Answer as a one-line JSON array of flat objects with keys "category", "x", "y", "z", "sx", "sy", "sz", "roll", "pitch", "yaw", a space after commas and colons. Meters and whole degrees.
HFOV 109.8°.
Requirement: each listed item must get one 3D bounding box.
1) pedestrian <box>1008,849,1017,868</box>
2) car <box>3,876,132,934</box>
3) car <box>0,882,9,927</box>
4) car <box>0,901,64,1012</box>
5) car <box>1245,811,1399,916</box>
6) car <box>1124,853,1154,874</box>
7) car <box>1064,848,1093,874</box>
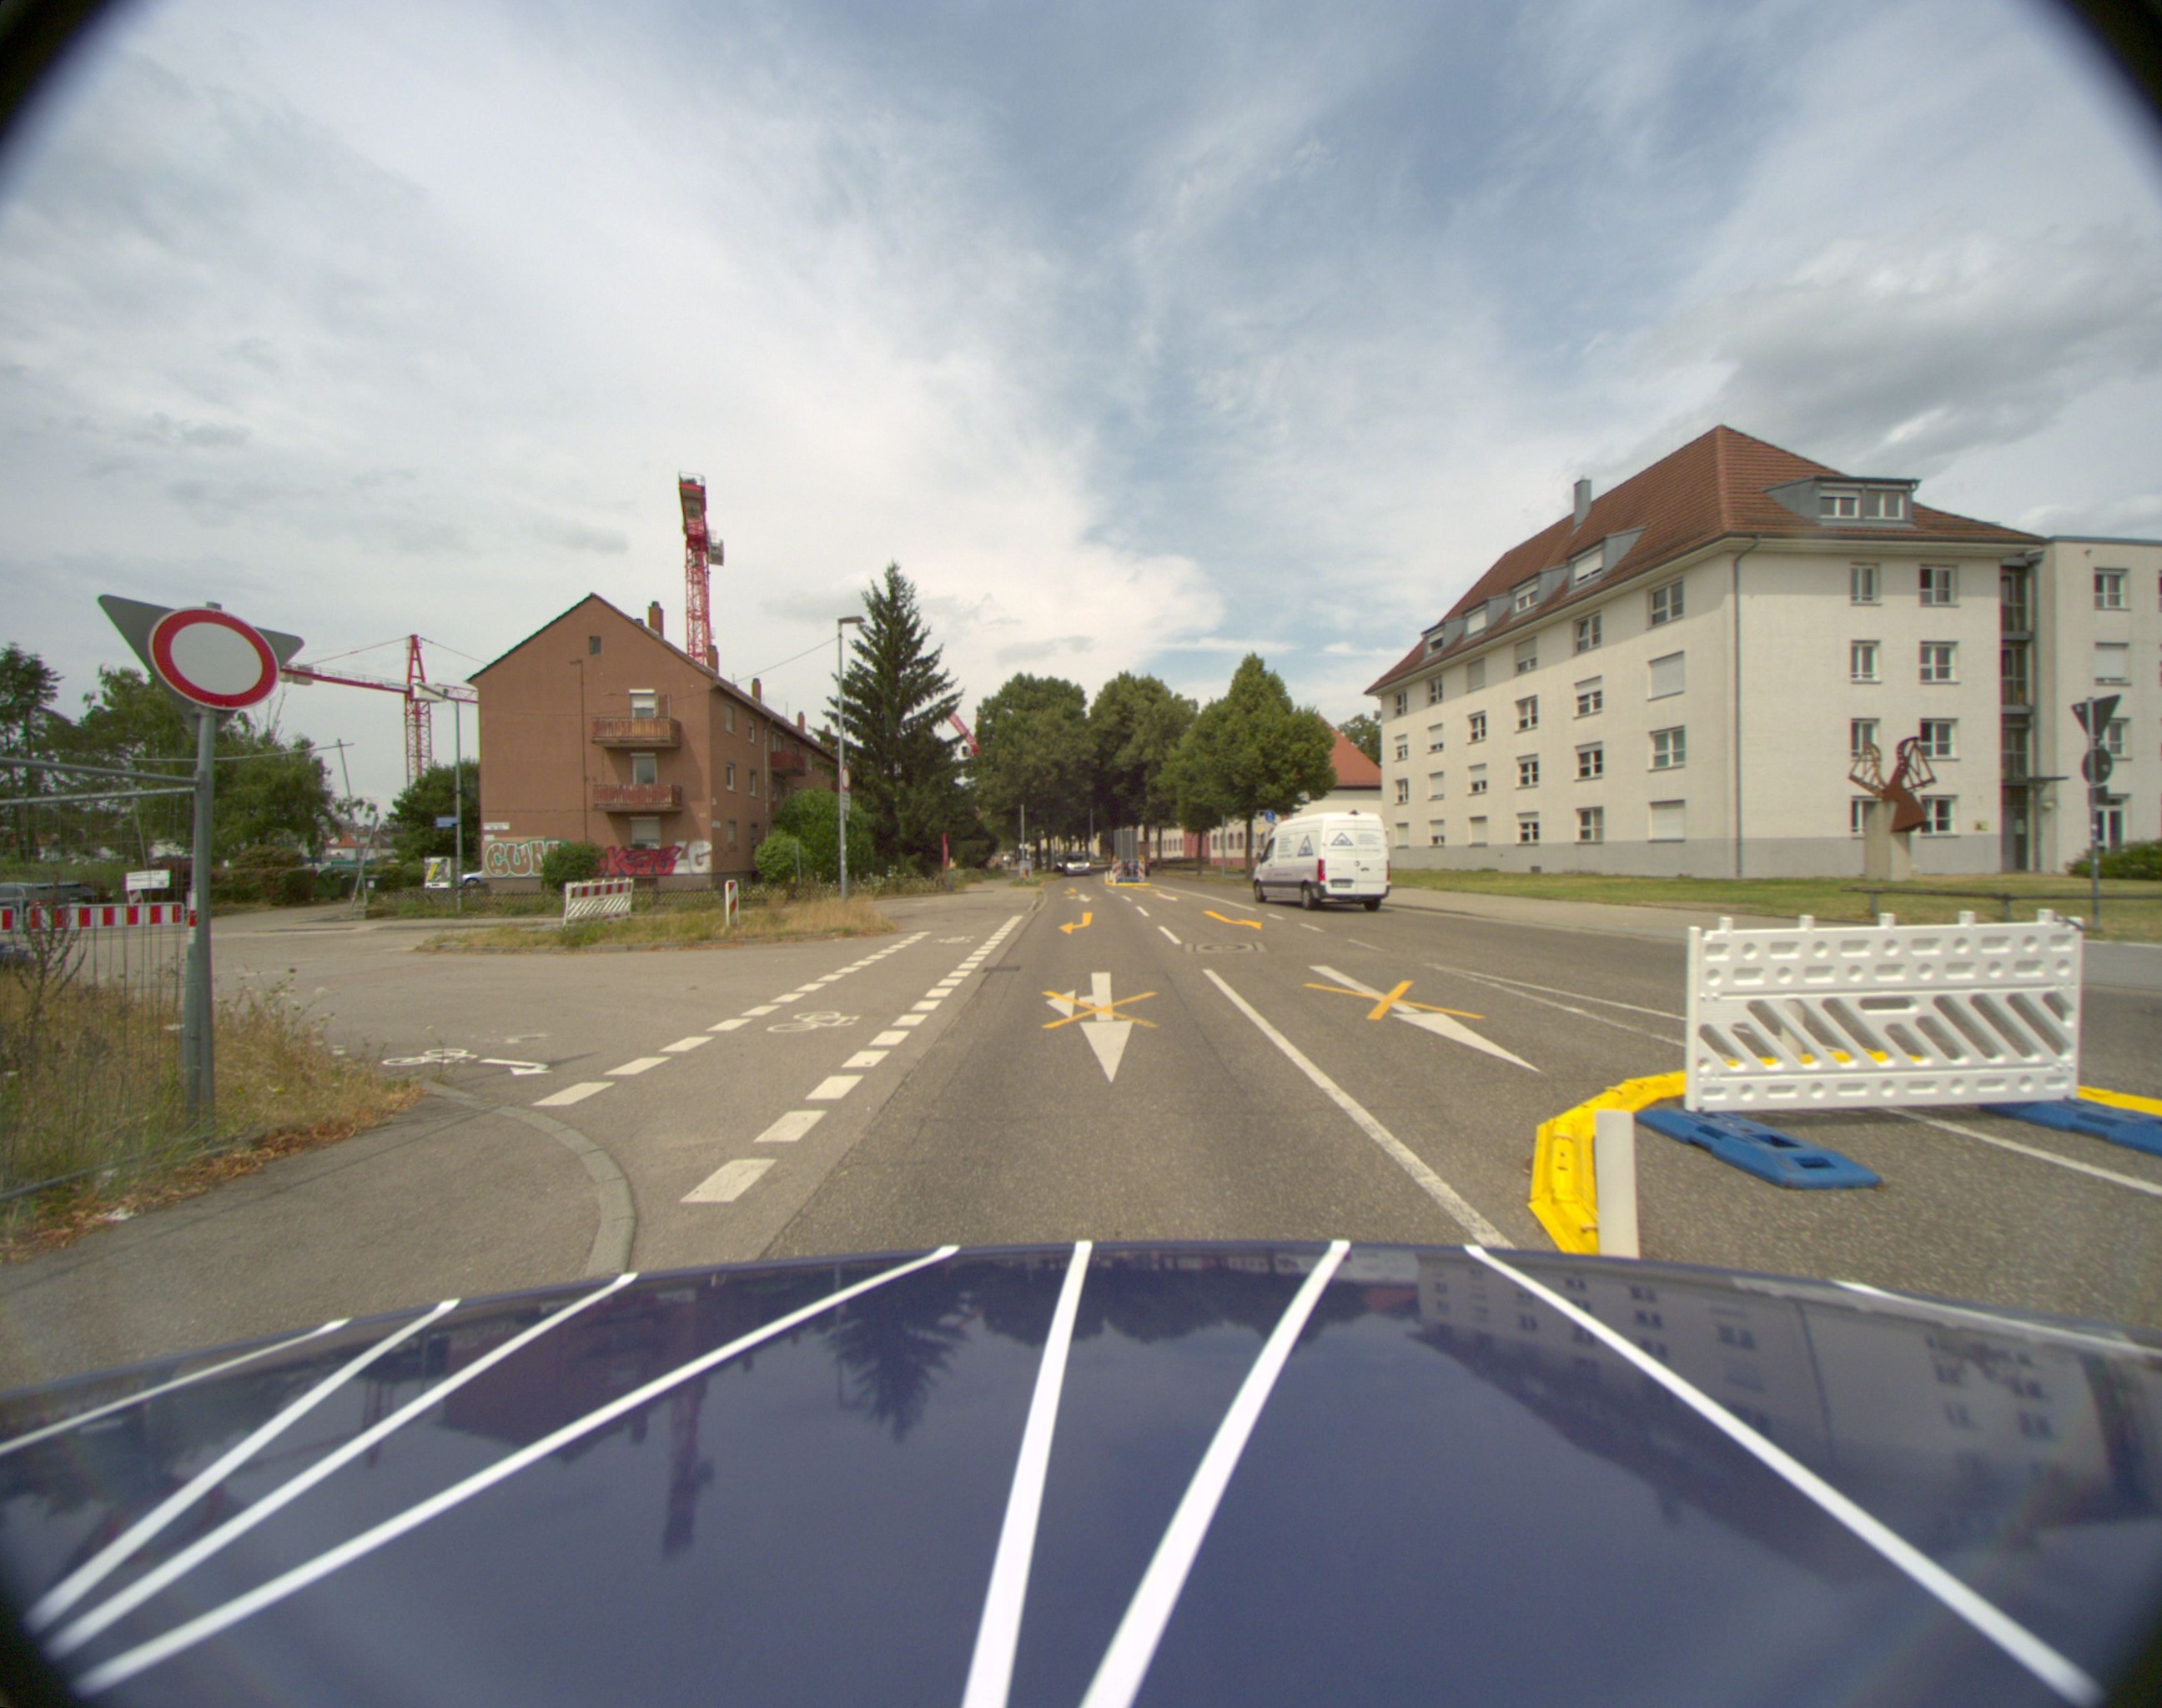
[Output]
[{"category": "pedestrian", "x": -7.294, "y": 0.448, "z": 80.736, "sx": 0.856, "sy": 2.002, "sz": 0.731, "roll": -1, "pitch": 1, "yaw": -8}, {"category": "car", "x": -35.298, "y": 1.719, "z": 26.470, "sx": 3.990, "sy": 1.838, "sz": 1.805, "roll": -1, "pitch": 1, "yaw": 24}, {"category": "car", "x": -40.707, "y": 1.865, "z": 26.930, "sx": 4.006, "sy": 1.593, "sz": 1.804, "roll": -1, "pitch": 1, "yaw": 15}, {"category": "car", "x": -15.799, "y": 1.450, "z": 8.920, "sx": 1.765, "sy": 1.465, "sz": 4.261, "roll": -1, "pitch": 1, "yaw": 7}, {"category": "car", "x": 6.843, "y": 0.220, "z": 22.469, "sx": 2.071, "sy": 2.670, "sz": 5.966, "roll": -1, "pitch": 1, "yaw": -6}, {"category": "car", "x": 4.127, "y": 0.667, "z": 54.617, "sx": 1.676, "sy": 1.402, "sz": 3.919, "roll": -1, "pitch": 1, "yaw": -3}, {"category": "car", "x": -0.211, "y": 0.511, "z": 58.529, "sx": 1.810, "sy": 1.936, "sz": 4.581, "roll": -1, "pitch": 1, "yaw": -5}]
